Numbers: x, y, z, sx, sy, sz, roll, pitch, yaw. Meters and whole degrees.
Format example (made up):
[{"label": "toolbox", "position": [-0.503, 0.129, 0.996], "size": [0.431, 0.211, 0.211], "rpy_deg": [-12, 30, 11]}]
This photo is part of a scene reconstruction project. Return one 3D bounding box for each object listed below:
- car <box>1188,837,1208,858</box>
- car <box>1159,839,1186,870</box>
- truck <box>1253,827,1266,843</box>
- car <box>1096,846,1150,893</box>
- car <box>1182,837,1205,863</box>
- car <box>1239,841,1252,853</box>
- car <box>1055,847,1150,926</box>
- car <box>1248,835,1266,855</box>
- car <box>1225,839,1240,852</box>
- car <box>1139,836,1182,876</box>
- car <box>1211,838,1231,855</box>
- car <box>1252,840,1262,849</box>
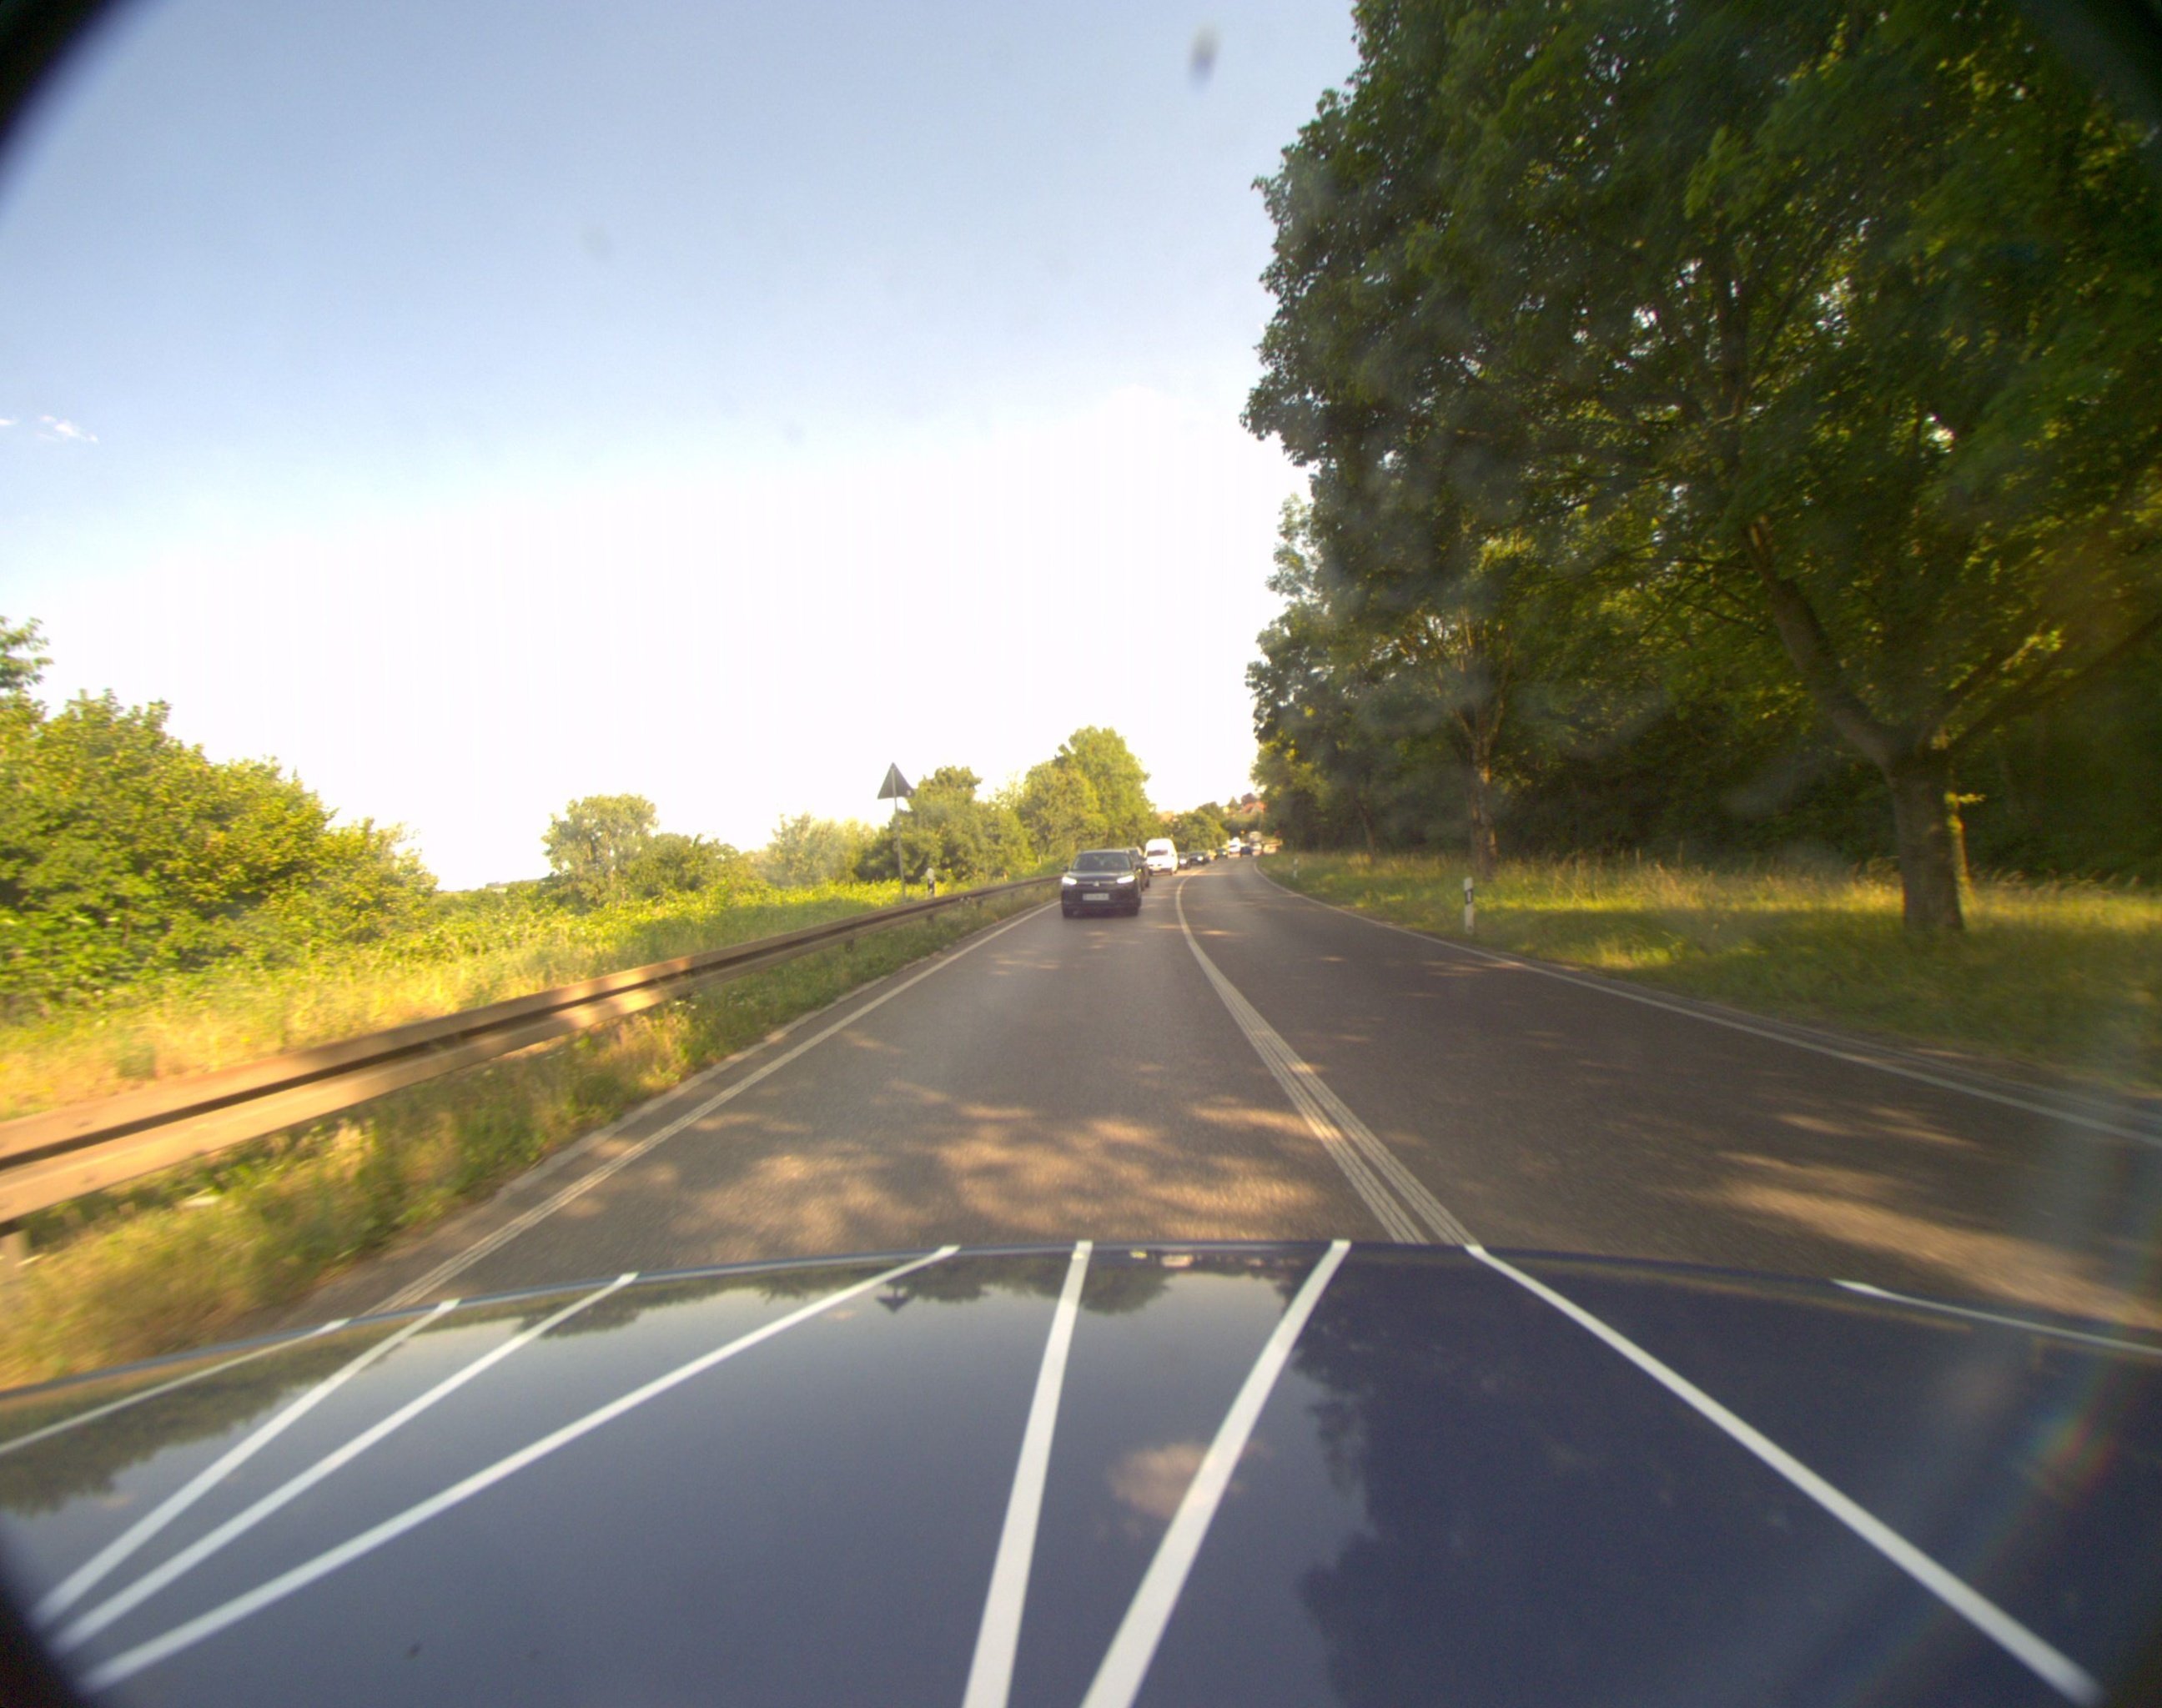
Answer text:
[{"label": "car", "position": [13.937, -0.810, 90.542], "size": [2.087, 2.403, 5.144], "rpy_deg": [-2, 1, 7]}, {"label": "car", "position": [7.586, -0.020, 62.965], "size": [2.087, 2.403, 5.144], "rpy_deg": [-2, 1, 7]}, {"label": "truck", "position": [59.796, -6.388, 254.239], "size": [3.628, 5.140, 10.471], "rpy_deg": [-2, 0, 14]}, {"label": "car", "position": [1.809, 0.583, 31.227], "size": [1.921, 1.718, 4.704], "rpy_deg": [-2, 0, 6]}, {"label": "car", "position": [11.296, -0.414, 76.404], "size": [2.087, 2.403, 5.144], "rpy_deg": [-2, 1, 7]}, {"label": "car", "position": [24.223, -1.065, 111.851], "size": [1.899, 1.622, 4.254], "rpy_deg": [-2, 1, 13]}, {"label": "car", "position": [0.678, 0.699, 18.860], "size": [1.921, 1.612, 4.703], "rpy_deg": [-2, 1, 6]}, {"label": "car", "position": [22.628, -1.211, 97.778], "size": [2.086, 2.403, 5.146], "rpy_deg": [-2, 1, 12]}, {"label": "car", "position": [29.916, -1.655, 149.968], "size": [2.085, 2.403, 5.148], "rpy_deg": [-2, 1, 19]}, {"label": "car", "position": [5.257, 0.070, 49.552], "size": [2.086, 2.403, 5.146], "rpy_deg": [-2, 1, 13]}, {"label": "car", "position": [20.553, -1.089, 111.189], "size": [2.085, 2.403, 5.148], "rpy_deg": [-2, 1, 19]}, {"label": "car", "position": [37.133, -2.034, 160.221], "size": [1.893, 1.622, 4.255], "rpy_deg": [-2, 1, 16]}]
